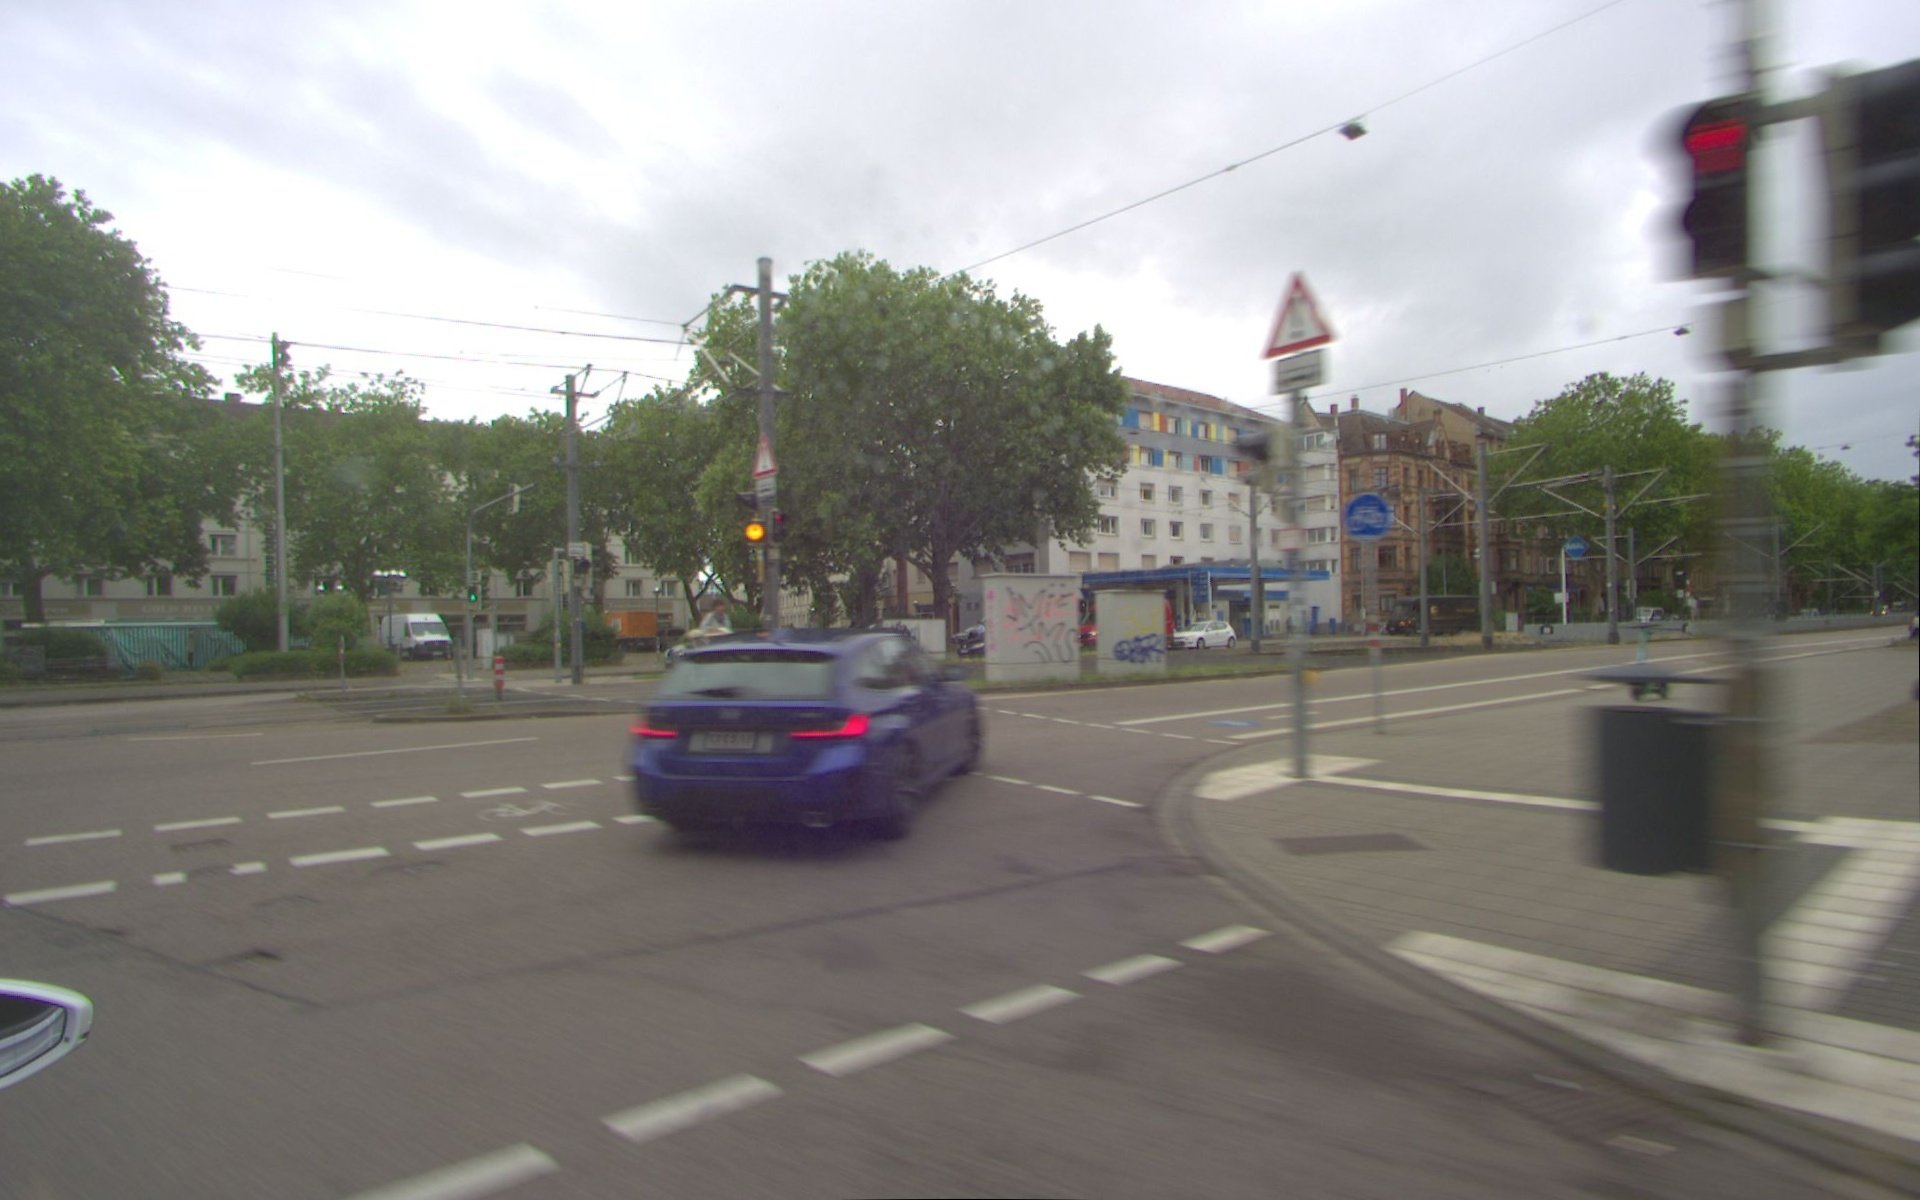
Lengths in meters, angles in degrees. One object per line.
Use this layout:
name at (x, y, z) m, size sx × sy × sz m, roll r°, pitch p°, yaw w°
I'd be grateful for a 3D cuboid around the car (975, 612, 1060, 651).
car at (3.430, 1.848, 59.441) m, size 5.031 × 2.123 × 1.976 m, roll 0°, pitch -1°, yaw -40°

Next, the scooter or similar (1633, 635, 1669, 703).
scooter or similar at (11.262, 1.117, 16.320) m, size 0.764 × 1.067 × 0.238 m, roll -1°, pitch -1°, yaw -38°

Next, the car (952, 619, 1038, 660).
car at (1.497, 1.670, 42.747) m, size 3.428 × 1.581 × 1.674 m, roll 0°, pitch -1°, yaw -40°

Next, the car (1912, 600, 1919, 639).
car at (40.073, 0.734, 40.649) m, size 3.428 × 1.550 × 1.674 m, roll 0°, pitch -1°, yaw -40°

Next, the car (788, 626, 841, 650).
car at (-11.018, 2.873, 75.903) m, size 3.775 × 1.643 × 1.499 m, roll 0°, pitch -2°, yaw -43°

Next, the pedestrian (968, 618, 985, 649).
pedestrian at (0.850, 1.772, 52.318) m, size 0.565 × 1.591 × 0.704 m, roll -1°, pitch -1°, yaw -39°

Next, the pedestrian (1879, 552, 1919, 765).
pedestrian at (8.057, 0.447, 7.997) m, size 0.956 × 1.695 × 0.631 m, roll -1°, pitch 2°, yaw 34°

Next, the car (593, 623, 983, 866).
car at (-1.029, 0.926, 8.224) m, size 1.787 × 1.423 × 4.318 m, roll -1°, pitch -1°, yaw 10°

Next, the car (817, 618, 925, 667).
car at (-3.444, 1.628, 39.099) m, size 3.905 × 1.733 × 1.674 m, roll 0°, pitch -1°, yaw -40°

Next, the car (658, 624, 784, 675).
car at (-8.265, 1.686, 34.824) m, size 3.945 × 1.581 × 1.674 m, roll 0°, pitch -1°, yaw -40°

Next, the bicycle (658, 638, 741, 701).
bicycle at (-4.494, 1.173, 17.195) m, size 0.547 × 1.008 × 2.044 m, roll -1°, pitch -1°, yaw -40°

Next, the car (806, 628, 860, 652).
car at (-9.364, 2.935, 74.096) m, size 3.775 × 1.643 × 1.499 m, roll 0°, pitch -2°, yaw -43°

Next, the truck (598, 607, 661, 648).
truck at (-22.154, 1.860, 67.021) m, size 3.957 × 2.624 × 2.367 m, roll -2°, pitch -1°, yaw 43°

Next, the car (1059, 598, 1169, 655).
car at (7.395, 1.227, 47.691) m, size 5.548 × 2.571 × 1.976 m, roll 0°, pitch -1°, yaw -40°

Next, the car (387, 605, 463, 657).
car at (-29.069, 1.694, 54.346) m, size 2.221 × 2.673 × 5.394 m, roll 0°, pitch -1°, yaw -44°

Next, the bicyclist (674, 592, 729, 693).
bicyclist at (-4.431, 0.720, 17.143) m, size 0.609 × 1.675 × 0.748 m, roll -1°, pitch -1°, yaw -41°

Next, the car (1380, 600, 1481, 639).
car at (35.836, 1.482, 76.330) m, size 6.974 × 2.763 × 2.246 m, roll -1°, pitch -1°, yaw -11°

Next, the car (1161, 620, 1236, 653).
car at (12.397, 1.889, 51.944) m, size 4.103 × 1.550 × 1.674 m, roll 0°, pitch -2°, yaw -40°
